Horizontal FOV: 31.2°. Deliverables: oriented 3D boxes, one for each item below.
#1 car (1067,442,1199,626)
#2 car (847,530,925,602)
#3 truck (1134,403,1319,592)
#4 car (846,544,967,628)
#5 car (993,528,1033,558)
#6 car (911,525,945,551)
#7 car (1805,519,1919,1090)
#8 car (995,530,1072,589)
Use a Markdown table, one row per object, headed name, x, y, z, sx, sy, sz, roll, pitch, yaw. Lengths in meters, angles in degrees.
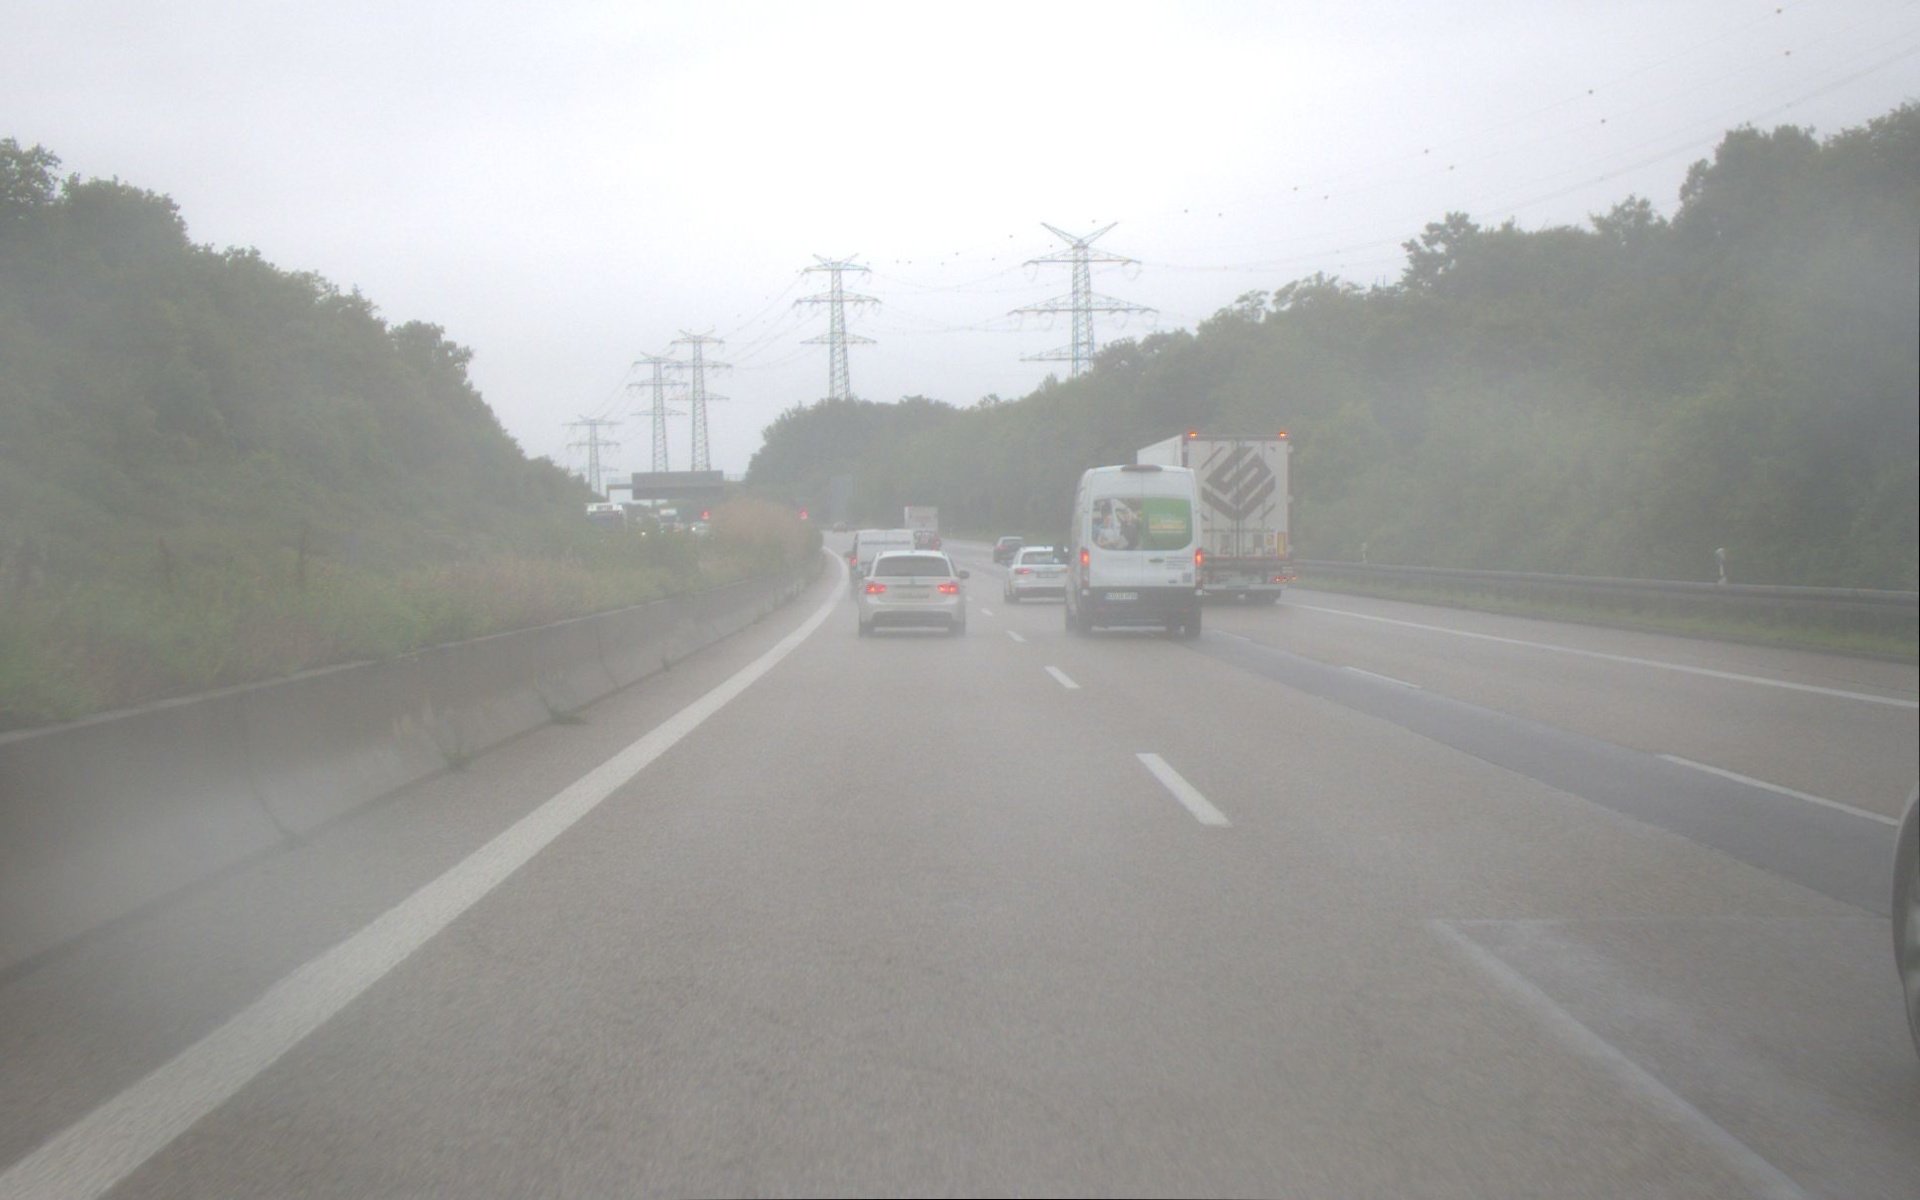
| name | x | y | z | sx | sy | sz | roll | pitch | yaw |
| --- | --- | --- | --- | --- | --- | --- | --- | --- | --- |
| car | 2.795 | -1.083 | 56.297 | 1.993 | 2.854 | 4.000 | -2 | 1 | 2 |
| car | -1.912 | -0.905 | 89.397 | 1.846 | 1.766 | 4.000 | -2 | 1 | 1 |
| truck | 6.498 | -2.473 | 86.116 | 3.603 | 4.317 | 13.200 | -1 | 1 | 0 |
| car | -0.851 | -0.253 | 57.304 | 1.866 | 1.284 | 4.000 | -2 | 1 | 1 |
| car | 2.833 | -3.060 | 184.617 | 1.993 | 1.481 | 4.000 | -3 | 1 | 0 |
| car | -2.018 | -3.919 | 218.115 | 1.993 | 1.568 | 4.000 | -2 | 0 | 1 |
| car | 3.563 | 0.582 | 8.195 | 1.860 | 1.562 | 4.964 | 0 | 1 | 0 |
| car | 1.841 | -1.029 | 85.517 | 1.857 | 1.418 | 4.000 | 0 | 1 | 2 |
